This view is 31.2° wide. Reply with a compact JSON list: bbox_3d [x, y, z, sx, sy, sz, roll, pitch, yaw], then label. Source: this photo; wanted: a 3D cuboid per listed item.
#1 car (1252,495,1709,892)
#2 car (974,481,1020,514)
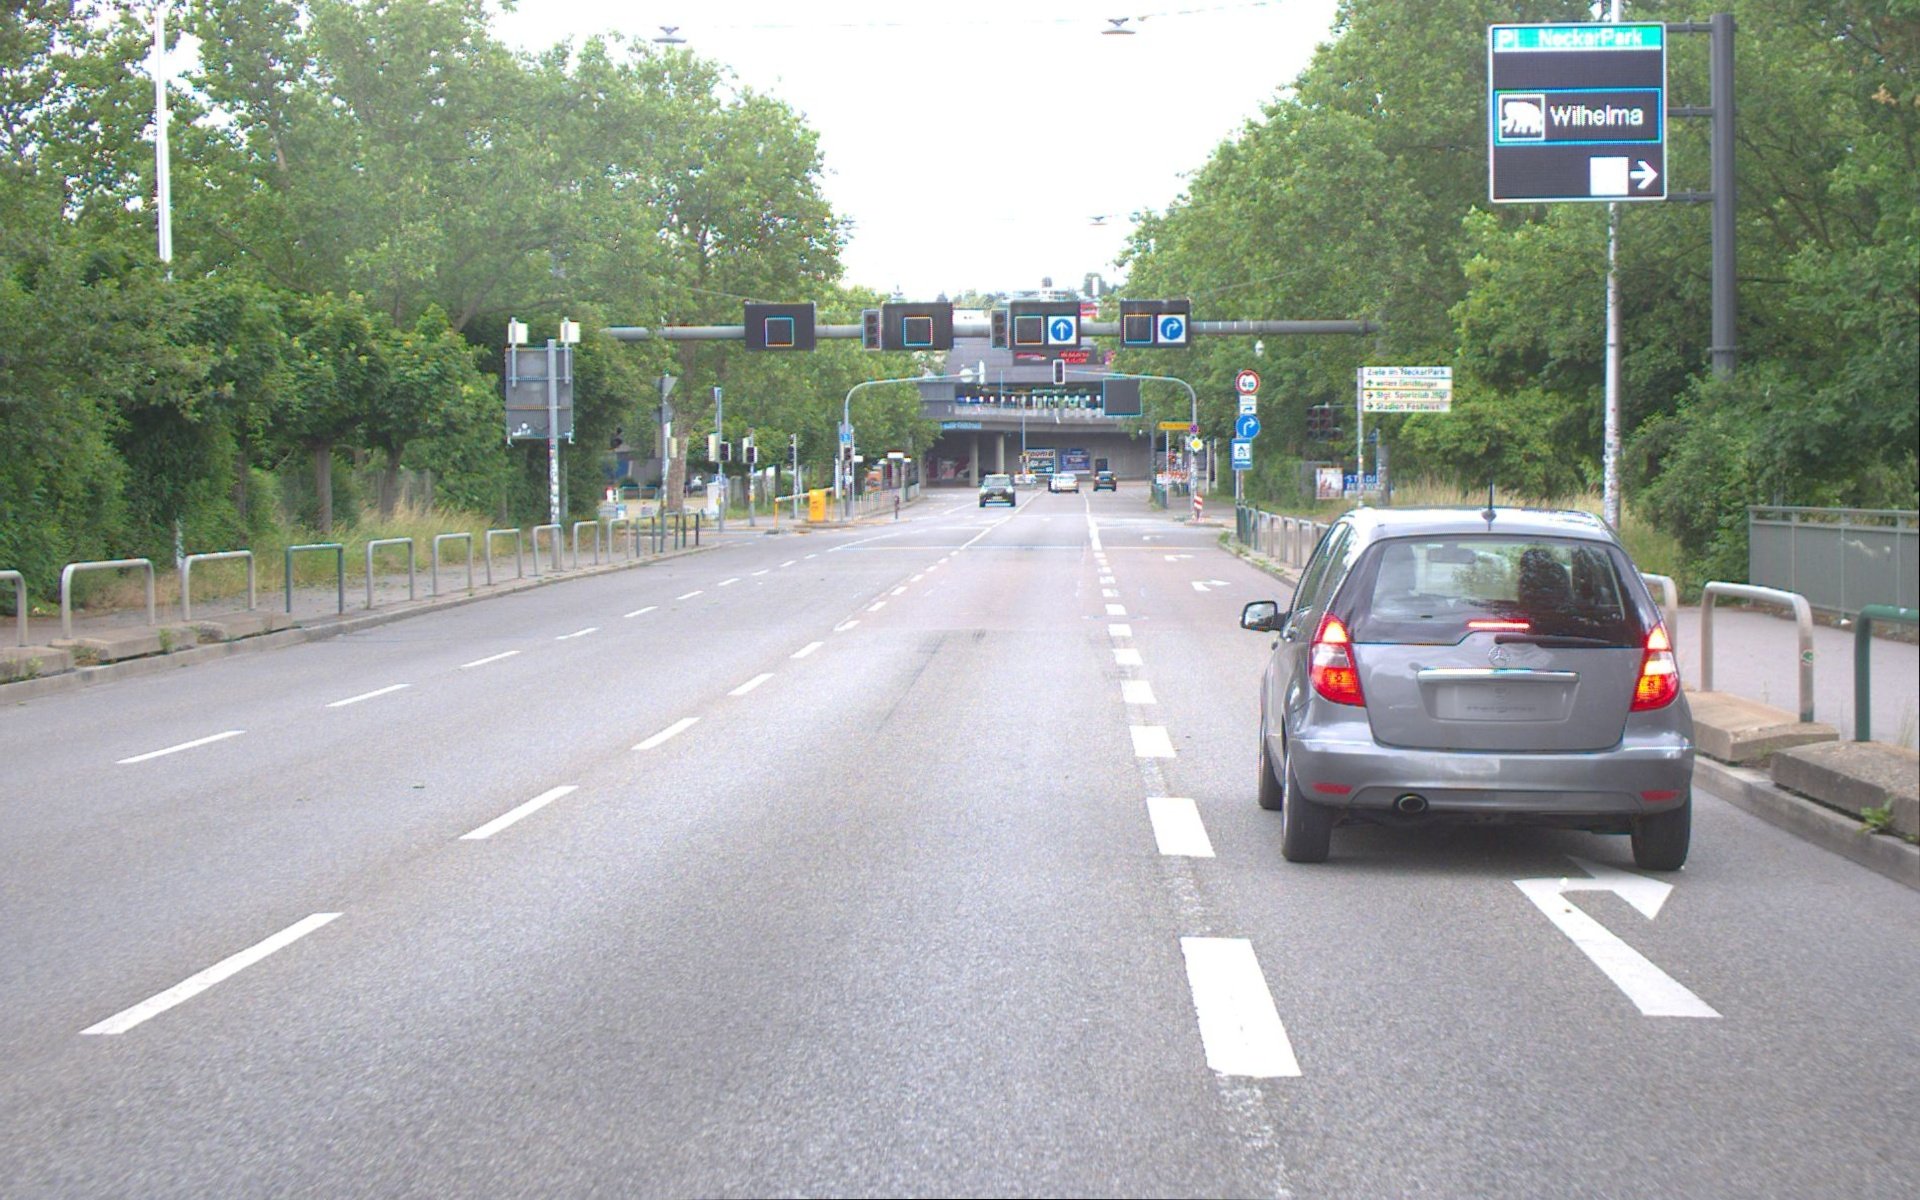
[{"bbox_3d":[2.292,0.338,16.063,1.826,1.611,4.033,0,1,5],"label":"car"},{"bbox_3d":[1.918,-5.341,178.414,1.994,1.654,4.517,-2,2,5],"label":"car"}]
